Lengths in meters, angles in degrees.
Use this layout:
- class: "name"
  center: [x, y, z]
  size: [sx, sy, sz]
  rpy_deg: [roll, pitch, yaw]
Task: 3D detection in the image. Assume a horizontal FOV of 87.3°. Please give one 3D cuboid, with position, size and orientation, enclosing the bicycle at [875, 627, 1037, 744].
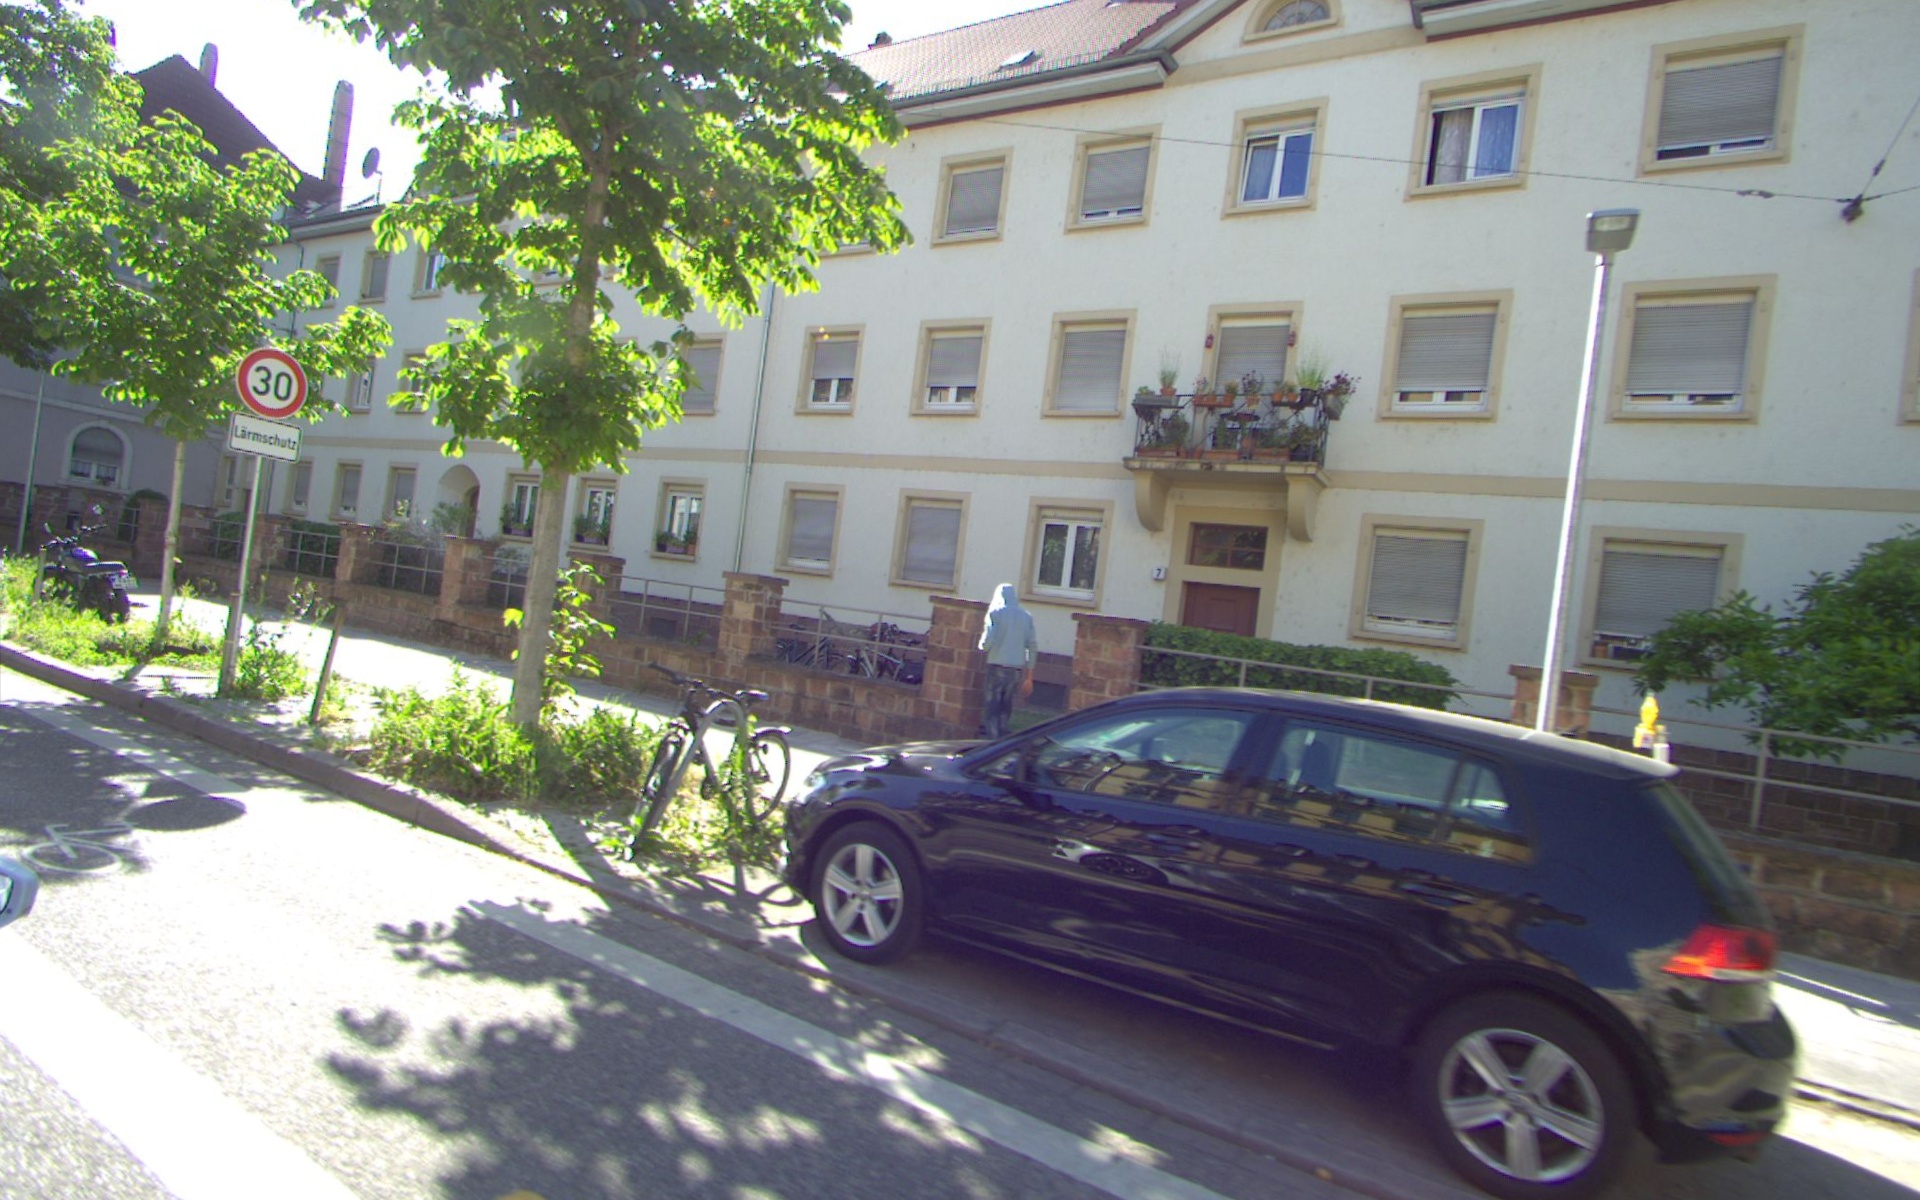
- class: "bicycle"
  center: [-0.073, 1.057, 12.600]
  size: [1.885, 1.165, 0.546]
  rpy_deg: [7, -2, 32]

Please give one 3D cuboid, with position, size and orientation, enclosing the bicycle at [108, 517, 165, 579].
- class: "bicycle"
  center: [-18.364, -1.164, 22.426]
  size: [1.350, 1.237, 0.435]
  rpy_deg: [7, -2, 32]

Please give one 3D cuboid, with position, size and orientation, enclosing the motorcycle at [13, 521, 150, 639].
- class: "motorcycle"
  center: [-10.673, -0.254, 12.204]
  size: [1.828, 1.207, 0.496]
  rpy_deg: [7, 3, 24]

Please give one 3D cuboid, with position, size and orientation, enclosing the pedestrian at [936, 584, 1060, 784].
- class: "pedestrian"
  center: [0.354, 0.782, 9.451]
  size: [0.757, 1.744, 0.575]
  rpy_deg: [9, -2, -29]

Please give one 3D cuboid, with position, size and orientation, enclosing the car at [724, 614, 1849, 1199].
- class: "car"
  center: [1.095, 1.085, 4.545]
  size: [3.977, 1.481, 1.790]
  rpy_deg: [7, -1, 32]

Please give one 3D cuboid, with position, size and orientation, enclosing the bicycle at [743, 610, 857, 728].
- class: "bicycle"
  center: [-2.014, 0.842, 12.548]
  size: [1.403, 1.275, 0.349]
  rpy_deg: [7, -2, 36]

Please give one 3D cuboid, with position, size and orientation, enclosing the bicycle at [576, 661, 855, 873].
- class: "bicycle"
  center: [-1.465, 0.970, 6.402]
  size: [0.610, 1.080, 1.796]
  rpy_deg: [7, 0, 27]

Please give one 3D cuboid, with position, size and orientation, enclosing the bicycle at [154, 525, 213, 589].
- class: "bicycle"
  center: [-16.941, -0.935, 21.951]
  size: [1.350, 1.237, 0.435]
  rpy_deg: [7, -2, 32]

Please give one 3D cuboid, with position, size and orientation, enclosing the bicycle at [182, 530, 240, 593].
- class: "bicycle"
  center: [-16.661, -0.861, 22.374]
  size: [1.350, 1.237, 0.435]
  rpy_deg: [7, -2, 32]

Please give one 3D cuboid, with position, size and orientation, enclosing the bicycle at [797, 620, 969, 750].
- class: "bicycle"
  center: [-0.889, 0.924, 11.252]
  size: [1.885, 1.166, 0.448]
  rpy_deg: [7, -1, 32]

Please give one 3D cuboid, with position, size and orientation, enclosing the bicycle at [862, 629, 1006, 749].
- class: "bicycle"
  center: [-0.321, 1.026, 11.792]
  size: [1.548, 1.165, 0.442]
  rpy_deg: [7, -2, 32]
